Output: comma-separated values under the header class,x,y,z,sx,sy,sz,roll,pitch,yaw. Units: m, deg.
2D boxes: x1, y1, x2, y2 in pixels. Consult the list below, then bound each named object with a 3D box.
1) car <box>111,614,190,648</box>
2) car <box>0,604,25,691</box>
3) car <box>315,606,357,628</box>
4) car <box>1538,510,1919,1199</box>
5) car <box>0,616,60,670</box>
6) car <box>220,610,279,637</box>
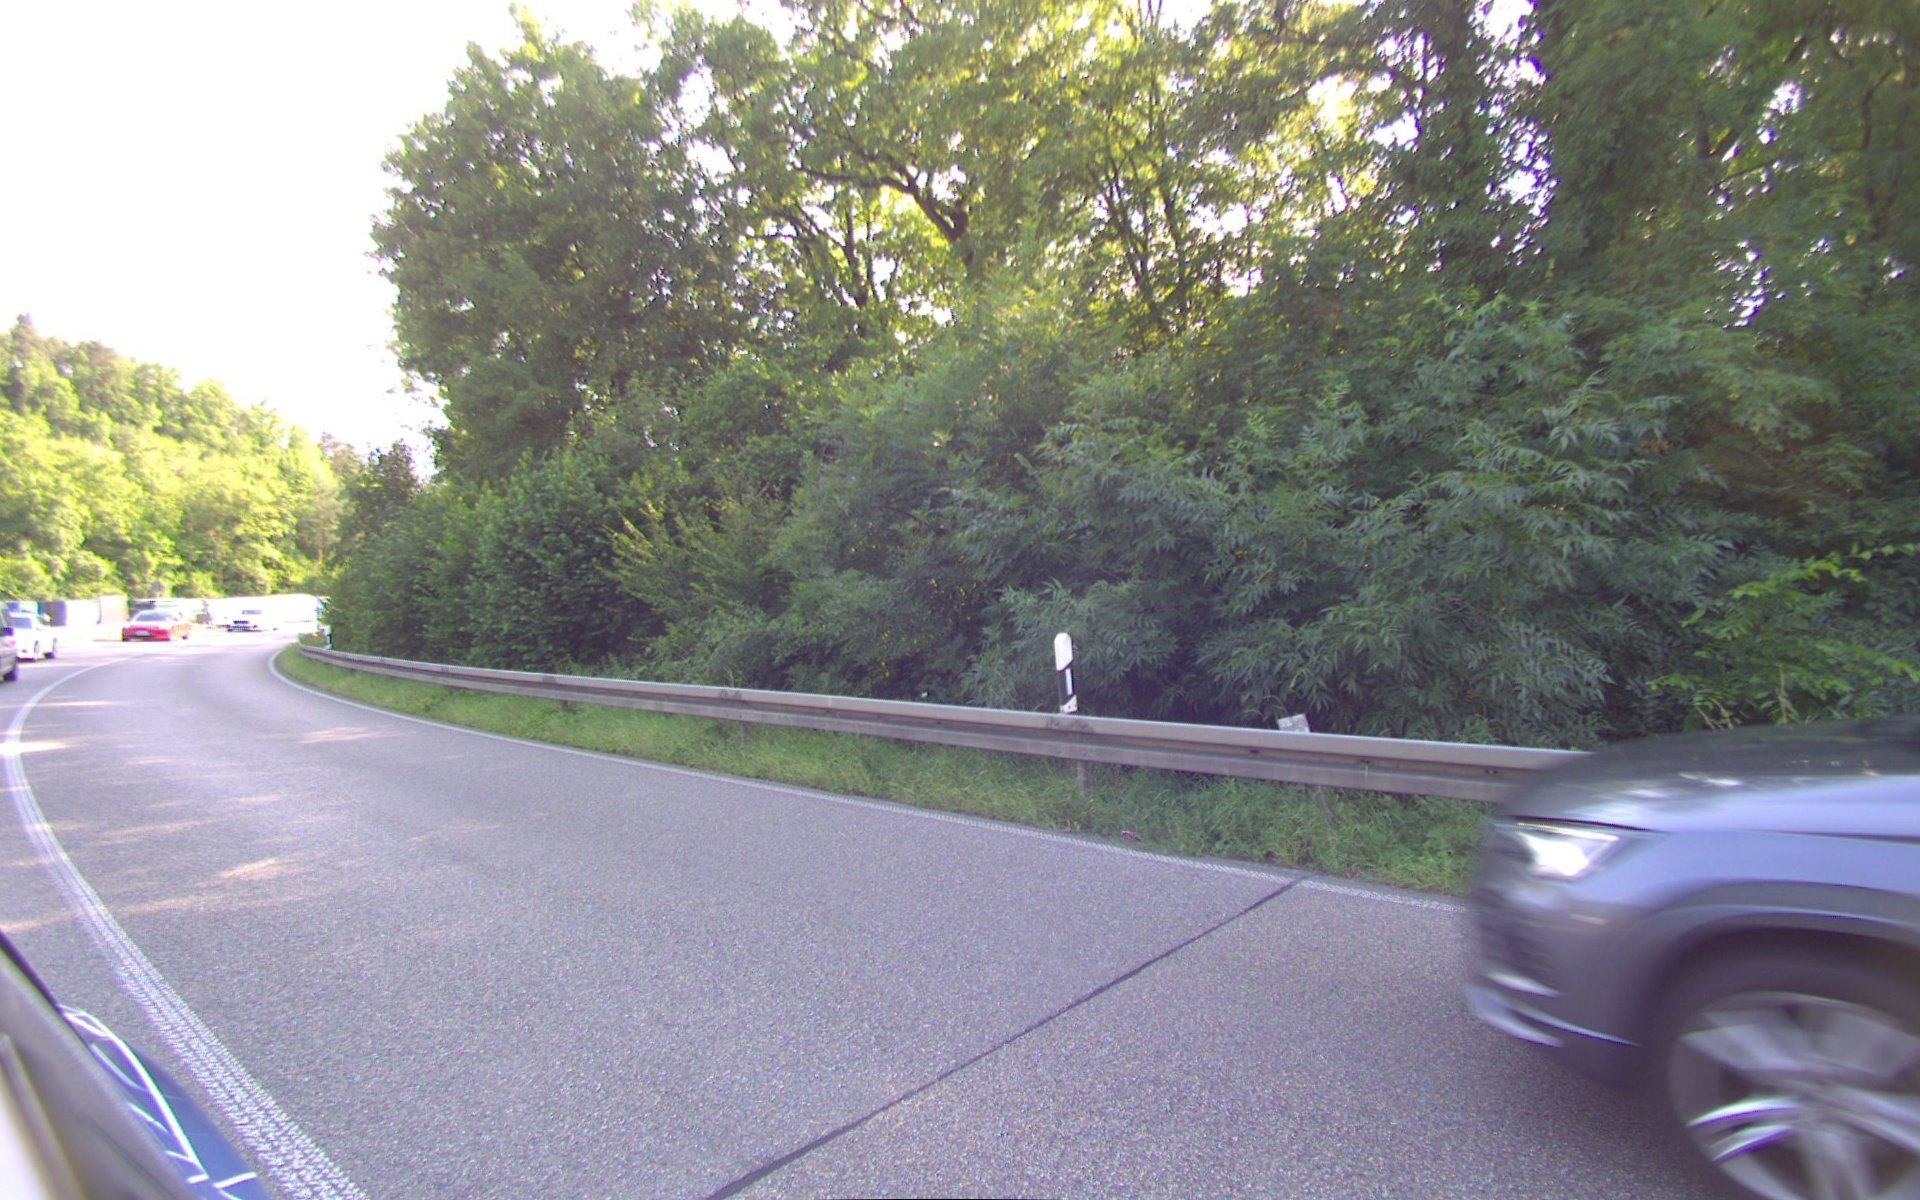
class,x,y,z,sx,sy,sz,roll,pitch,yaw
car,-37.822,1.407,47.416,1.828,1.431,4.434,1,0,-24
car,-20.693,0.970,20.648,1.838,1.733,4.774,0,0,-36
car,-50.370,1.338,81.824,1.829,1.608,4.551,-3,1,-18
car,3.570,0.566,1.986,3.994,1.577,1.850,-2,-2,38
car,-28.758,1.280,30.518,1.867,1.456,4.487,-3,1,-35
car,-43.740,1.419,62.414,1.884,1.476,4.552,-1,0,-21
